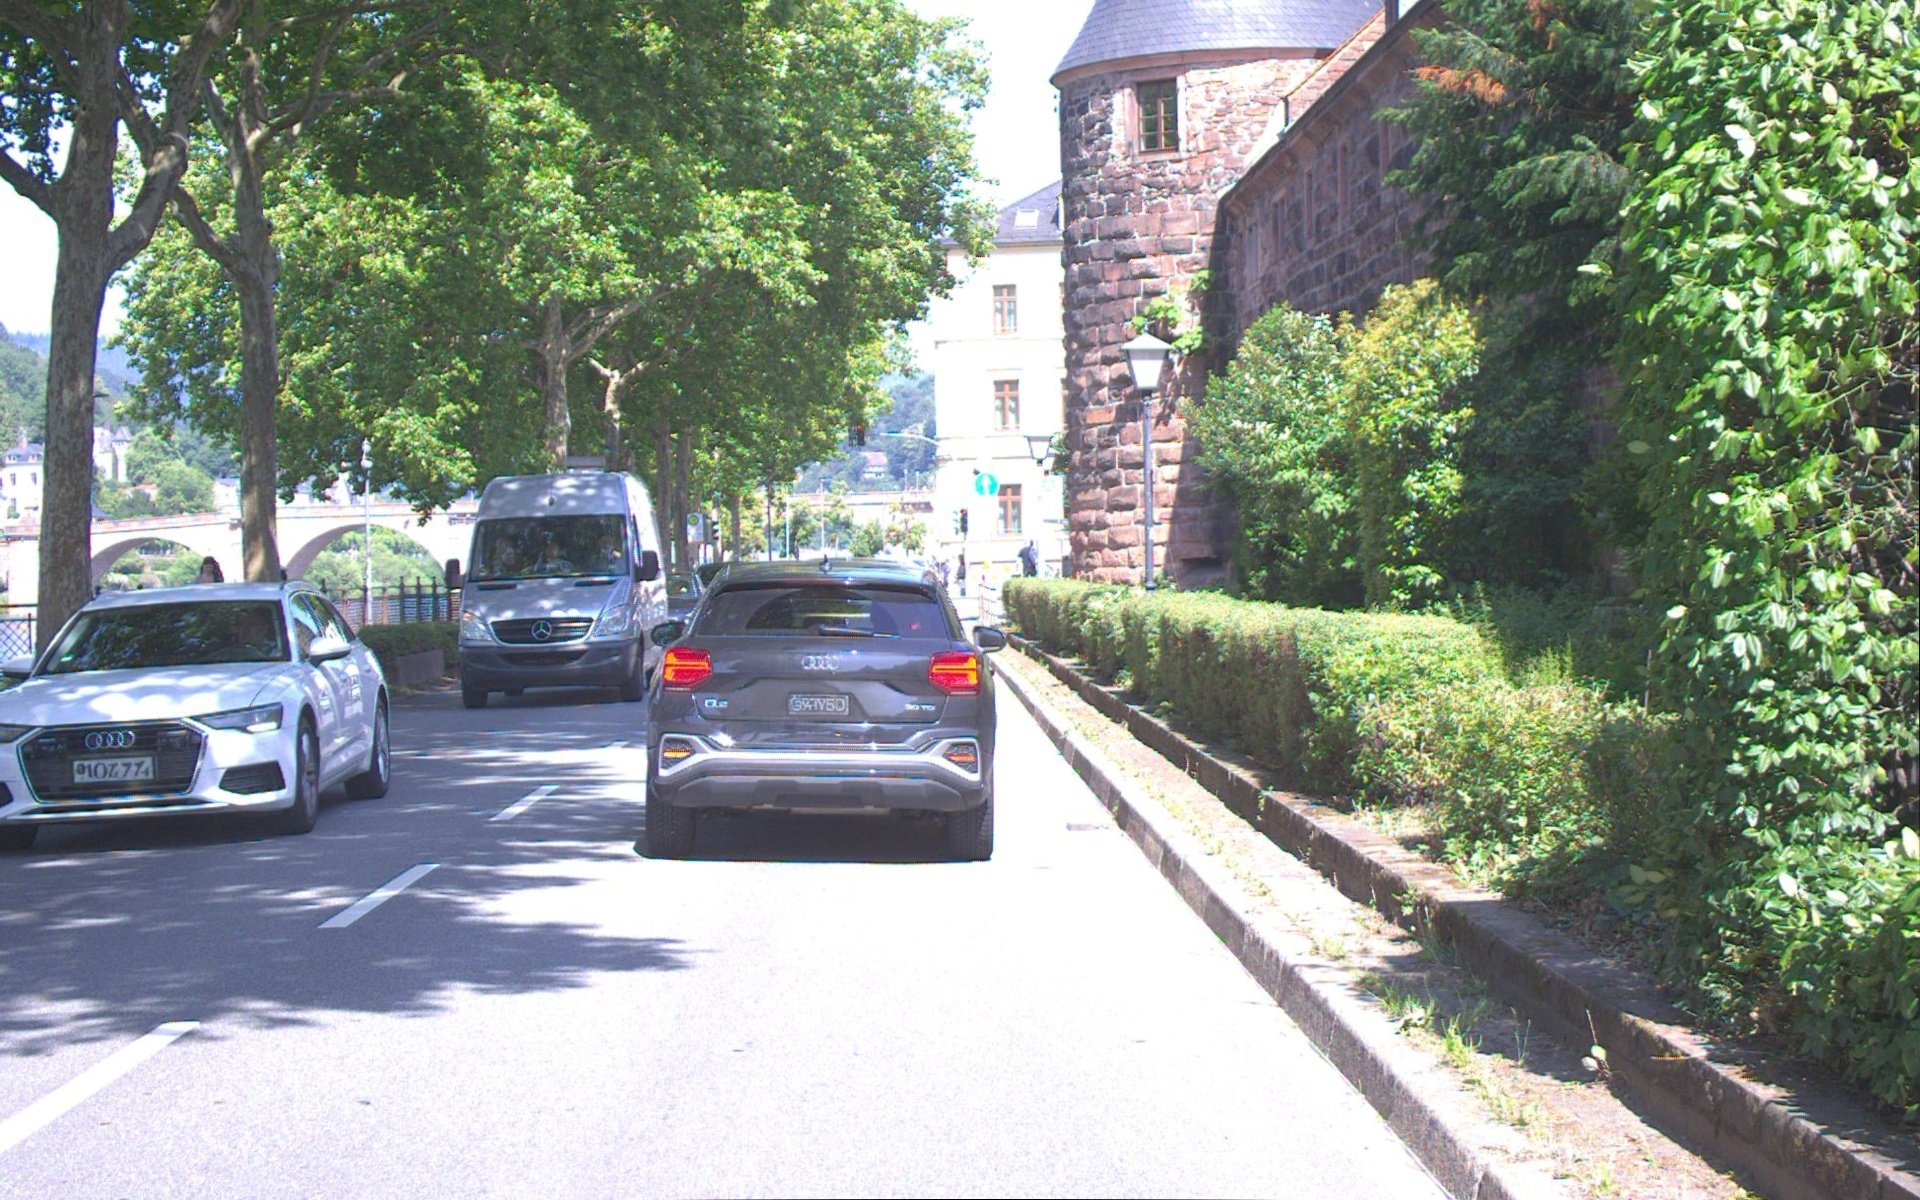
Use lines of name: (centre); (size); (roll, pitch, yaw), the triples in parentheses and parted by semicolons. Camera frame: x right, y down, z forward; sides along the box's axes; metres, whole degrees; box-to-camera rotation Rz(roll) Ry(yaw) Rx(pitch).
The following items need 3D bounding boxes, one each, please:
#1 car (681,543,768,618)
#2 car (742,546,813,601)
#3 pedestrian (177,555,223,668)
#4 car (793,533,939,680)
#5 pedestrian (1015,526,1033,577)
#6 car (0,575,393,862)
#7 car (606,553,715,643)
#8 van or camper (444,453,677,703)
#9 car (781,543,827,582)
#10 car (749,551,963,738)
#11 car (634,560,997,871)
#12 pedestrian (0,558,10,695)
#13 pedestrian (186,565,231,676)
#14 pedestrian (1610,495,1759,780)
car: (-5.643, -0.489, 82.766); (1.877, 1.692, 4.259); (-2, 1, -2)
car: (-5.773, -0.850, 108.847); (1.763, 1.642, 4.089); (-2, 1, 3)
pedestrian: (-10.573, 0.158, 47.822); (0.457, 1.549, 0.586); (-2, 1, -1)
car: (-1.367, 0.060, 50.580); (1.993, 2.007, 4.000); (-2, 1, -1)
pedestrian: (2.031, -1.543, 109.501); (0.557, 1.627, 0.660); (1, 0, 0)
car: (-4.647, 0.628, 20.772); (1.769, 1.452, 4.534); (-3, 1, -2)
car: (-5.242, -0.056, 60.562); (1.649, 1.464, 3.780); (-2, 1, -2)
van or camper: (-4.499, -0.259, 39.580); (1.960, 2.558, 5.841); (-3, 1, -1)
car: (-6.246, -1.483, 138.066); (1.615, 1.518, 3.476); (1, 0, 1)
car: (-0.904, 0.360, 31.705); (1.801, 1.557, 3.716); (-2, 1, 0)
car: (-0.769, 0.541, 18.557); (1.748, 1.489, 3.629); (1, 1, -2)
pedestrian: (-11.615, 0.300, 40.600); (0.644, 1.613, 0.459); (1, 0, -3)
pedestrian: (-10.607, 0.282, 48.539); (0.457, 1.549, 0.586); (-2, 1, -1)
pedestrian: (4.321, 0.214, 20.535); (0.698, 1.647, 0.705); (-2, 1, 2)
